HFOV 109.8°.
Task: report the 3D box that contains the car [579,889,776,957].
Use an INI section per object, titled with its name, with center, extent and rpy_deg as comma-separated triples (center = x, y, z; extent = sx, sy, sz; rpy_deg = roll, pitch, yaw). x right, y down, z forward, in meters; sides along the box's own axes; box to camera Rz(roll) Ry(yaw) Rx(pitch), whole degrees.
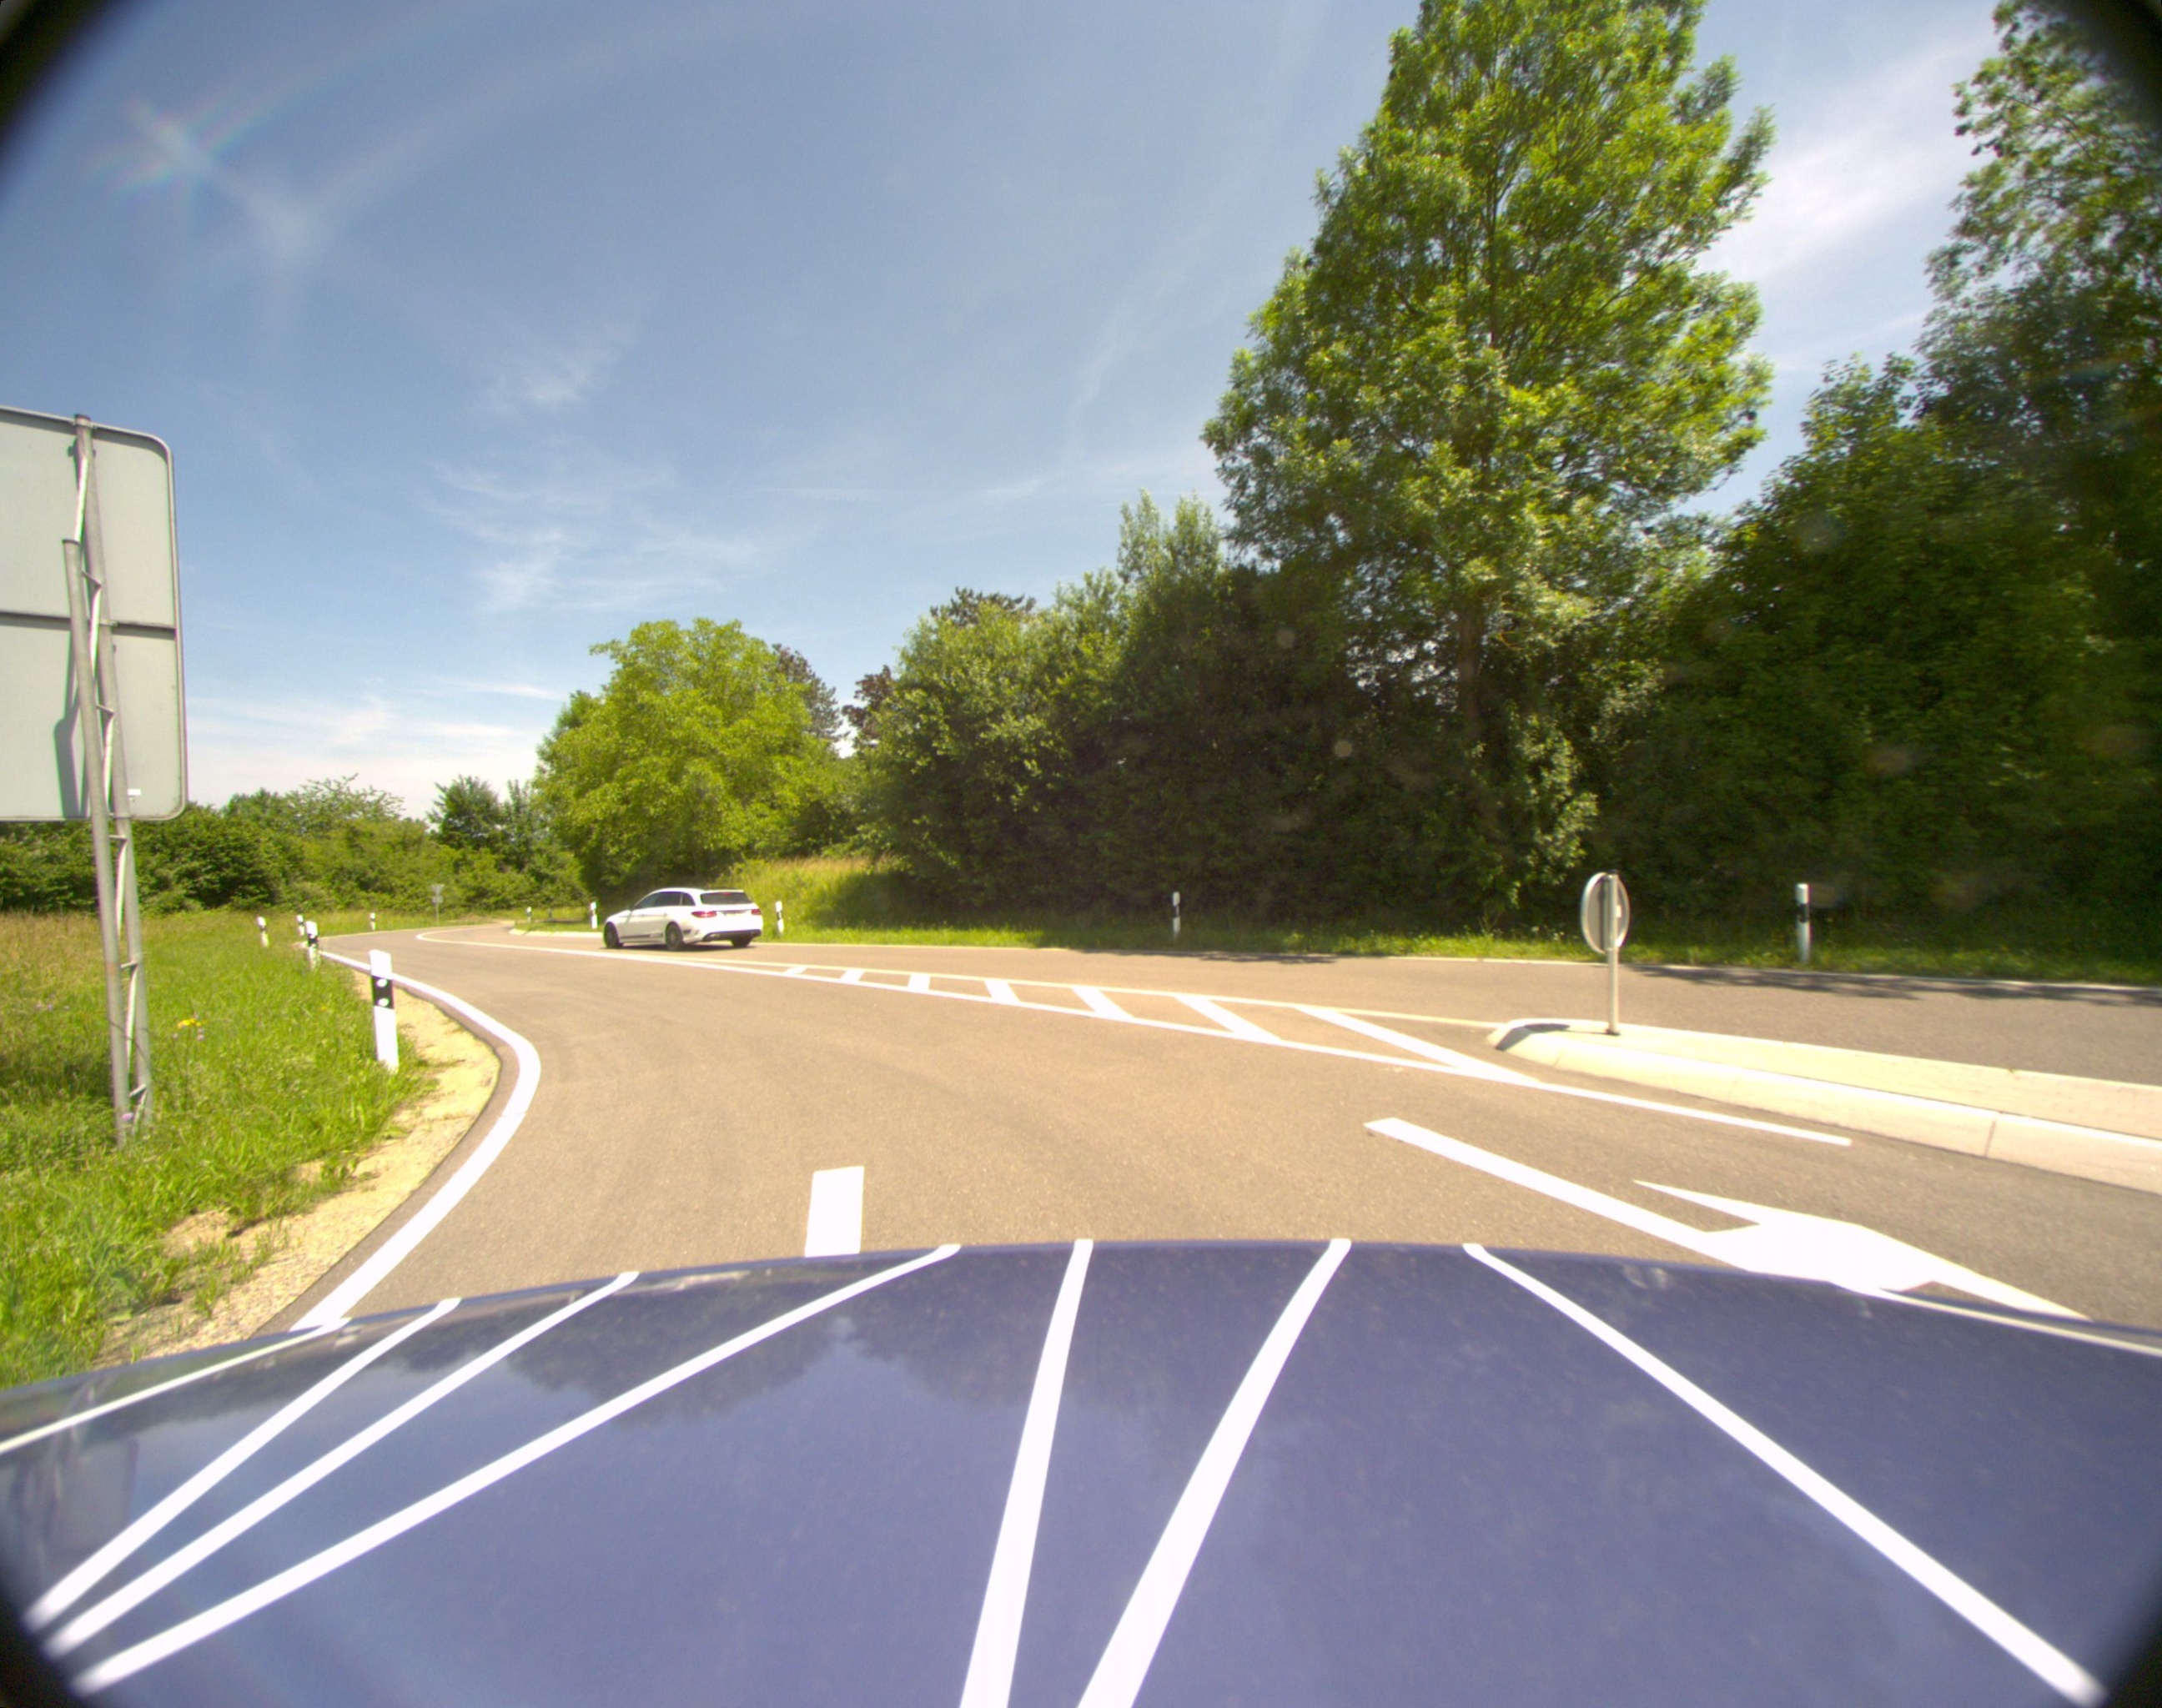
[car]
center = -9.839, 1.601, 18.365
extent = 5.320, 1.403, 1.814
rpy_deg = -3, -2, 33
